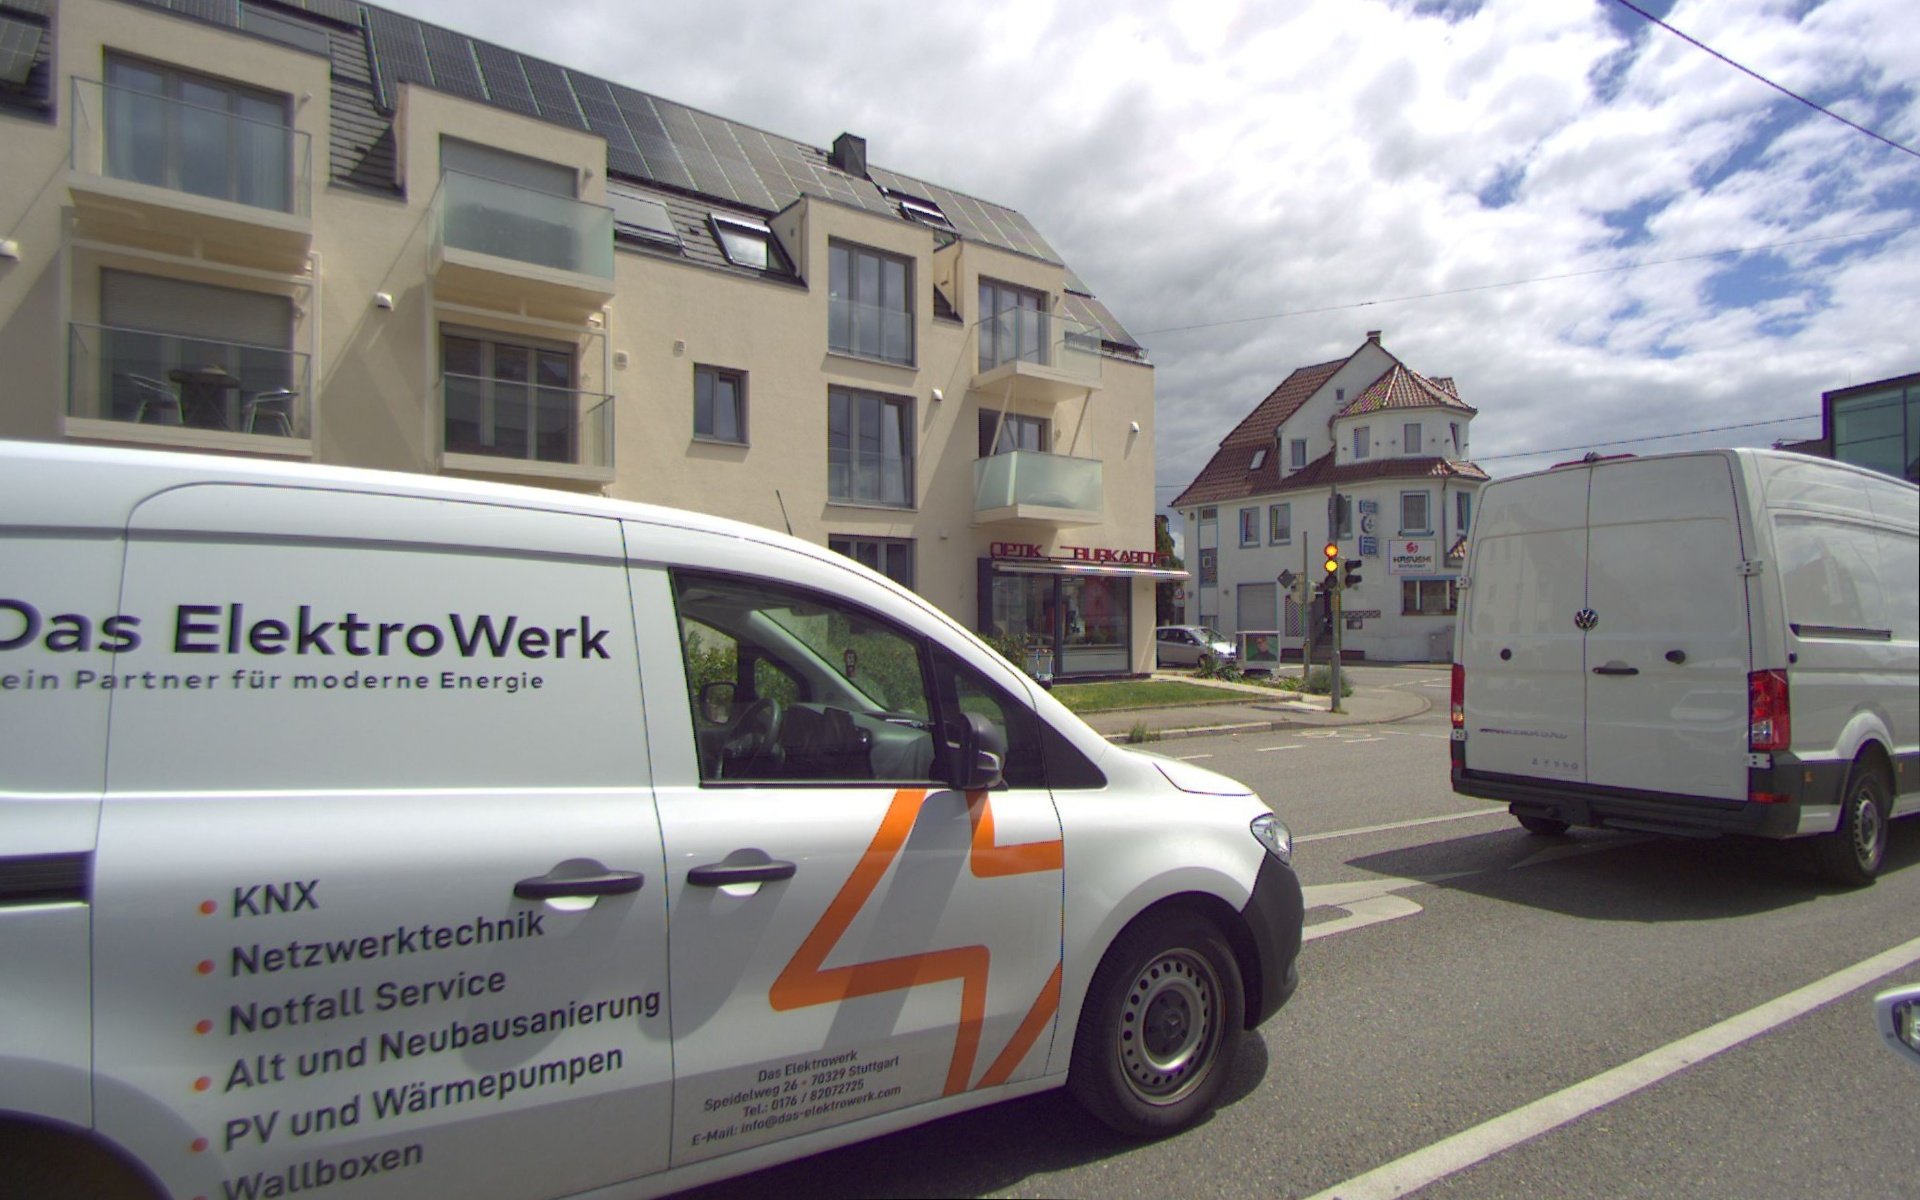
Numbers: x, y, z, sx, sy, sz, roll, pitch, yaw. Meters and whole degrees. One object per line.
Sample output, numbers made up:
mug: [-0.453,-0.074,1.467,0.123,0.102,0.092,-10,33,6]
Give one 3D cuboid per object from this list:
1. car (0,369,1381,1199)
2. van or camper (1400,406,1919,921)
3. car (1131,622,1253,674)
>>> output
car: [-0.913,0.599,2.934,4.370,1.836,1.806,1,-1,-33]
van or camper: [5.935,0.404,7.533,5.584,2.620,2.096,1,-2,-33]
car: [8.241,1.657,35.968,1.981,1.706,3.959,1,-1,-36]
